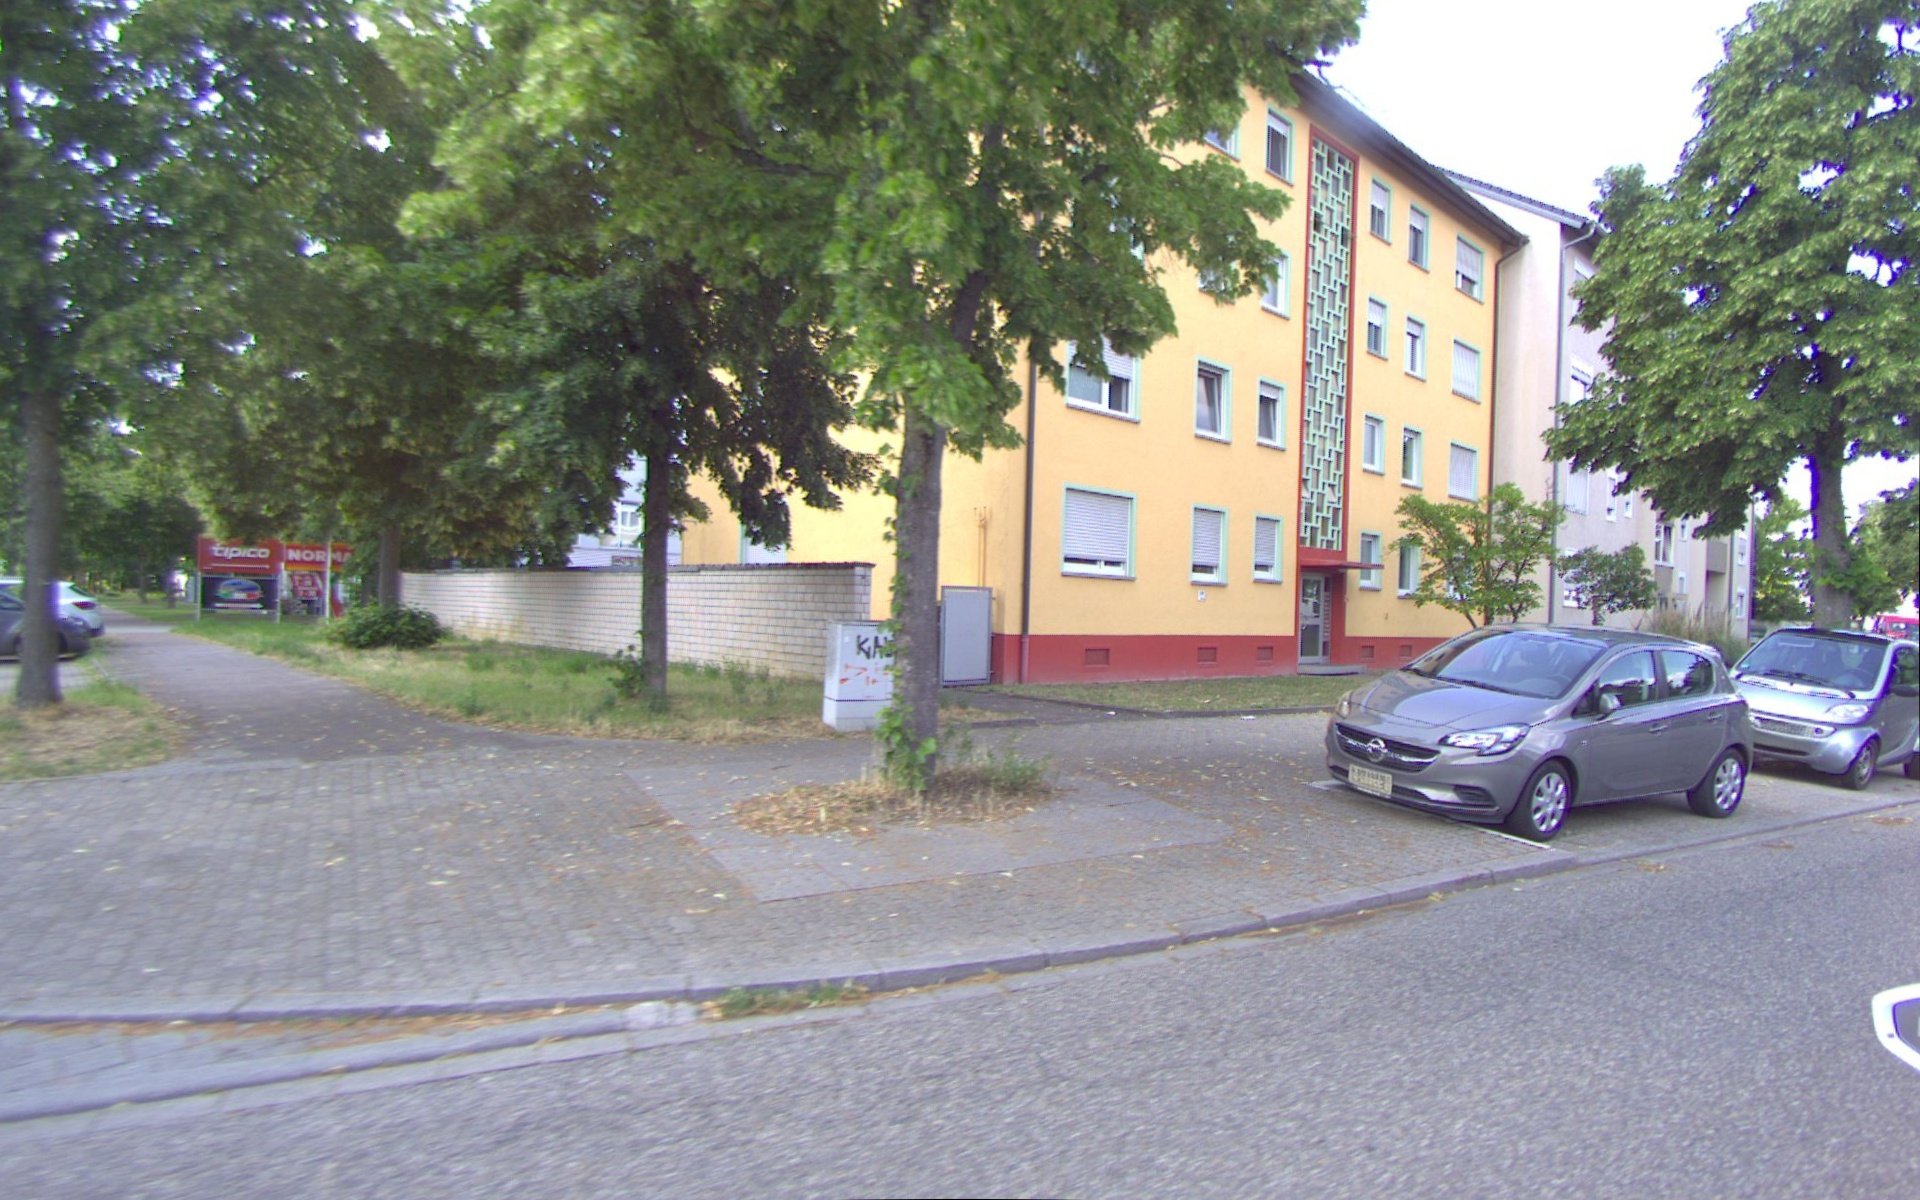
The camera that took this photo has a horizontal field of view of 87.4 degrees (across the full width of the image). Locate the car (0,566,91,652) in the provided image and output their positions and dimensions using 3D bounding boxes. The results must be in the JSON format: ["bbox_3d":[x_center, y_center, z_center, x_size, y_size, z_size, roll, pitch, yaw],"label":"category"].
[{"bbox_3d":[-18.386,0.171,18.148,1.628,1.559,3.879,0,1,42],"label":"car"}]

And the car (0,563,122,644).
[{"bbox_3d":[-19.725,0.063,20.458,1.628,1.613,3.879,0,1,42],"label":"car"}]

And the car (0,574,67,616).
[{"bbox_3d":[-35.334,-0.181,36.507,4.224,1.502,1.633,-1,1,-40],"label":"car"}]

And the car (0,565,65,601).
[{"bbox_3d":[-41.029,-0.706,42.779,4.223,1.502,1.633,-1,1,-39],"label":"car"}]

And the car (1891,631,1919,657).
[{"bbox_3d":[57.222,2.659,59.891,1.763,1.477,4.421,6,2,35],"label":"car"}]

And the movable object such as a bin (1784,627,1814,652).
[{"bbox_3d":[47.033,2.184,56.300,0.872,1.292,1.180,-3,3,-44],"label":"movable object such as a bin"}]

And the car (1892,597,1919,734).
[{"bbox_3d":[16.887,1.052,15.741,5.260,2.036,1.870,1,1,-31],"label":"car"}]

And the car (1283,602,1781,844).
[{"bbox_3d":[4.771,0.913,8.301,3.935,1.506,1.676,3,2,-29],"label":"car"}]

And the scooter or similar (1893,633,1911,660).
[{"bbox_3d":[43.214,2.128,46.085,0.414,1.181,1.136,3,1,37],"label":"scooter or similar"}]

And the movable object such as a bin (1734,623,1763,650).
[{"bbox_3d":[45.073,2.081,57.439,1.179,1.457,1.367,0,2,34],"label":"movable object such as a bin"}]

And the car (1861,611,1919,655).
[{"bbox_3d":[60.500,2.074,65.184,2.036,2.534,5.822,6,3,35],"label":"car"}]

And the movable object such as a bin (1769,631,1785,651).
[{"bbox_3d":[46.373,2.305,56.982,0.872,1.038,0.618,-3,3,-45],"label":"movable object such as a bin"}]

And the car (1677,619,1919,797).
[{"bbox_3d":[9.943,1.105,11.381,3.713,1.570,1.509,1,5,-32],"label":"car"}]

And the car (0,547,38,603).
[{"bbox_3d":[-45.714,-1.176,46.602,1.829,2.561,4.233,0,-1,45],"label":"car"}]
